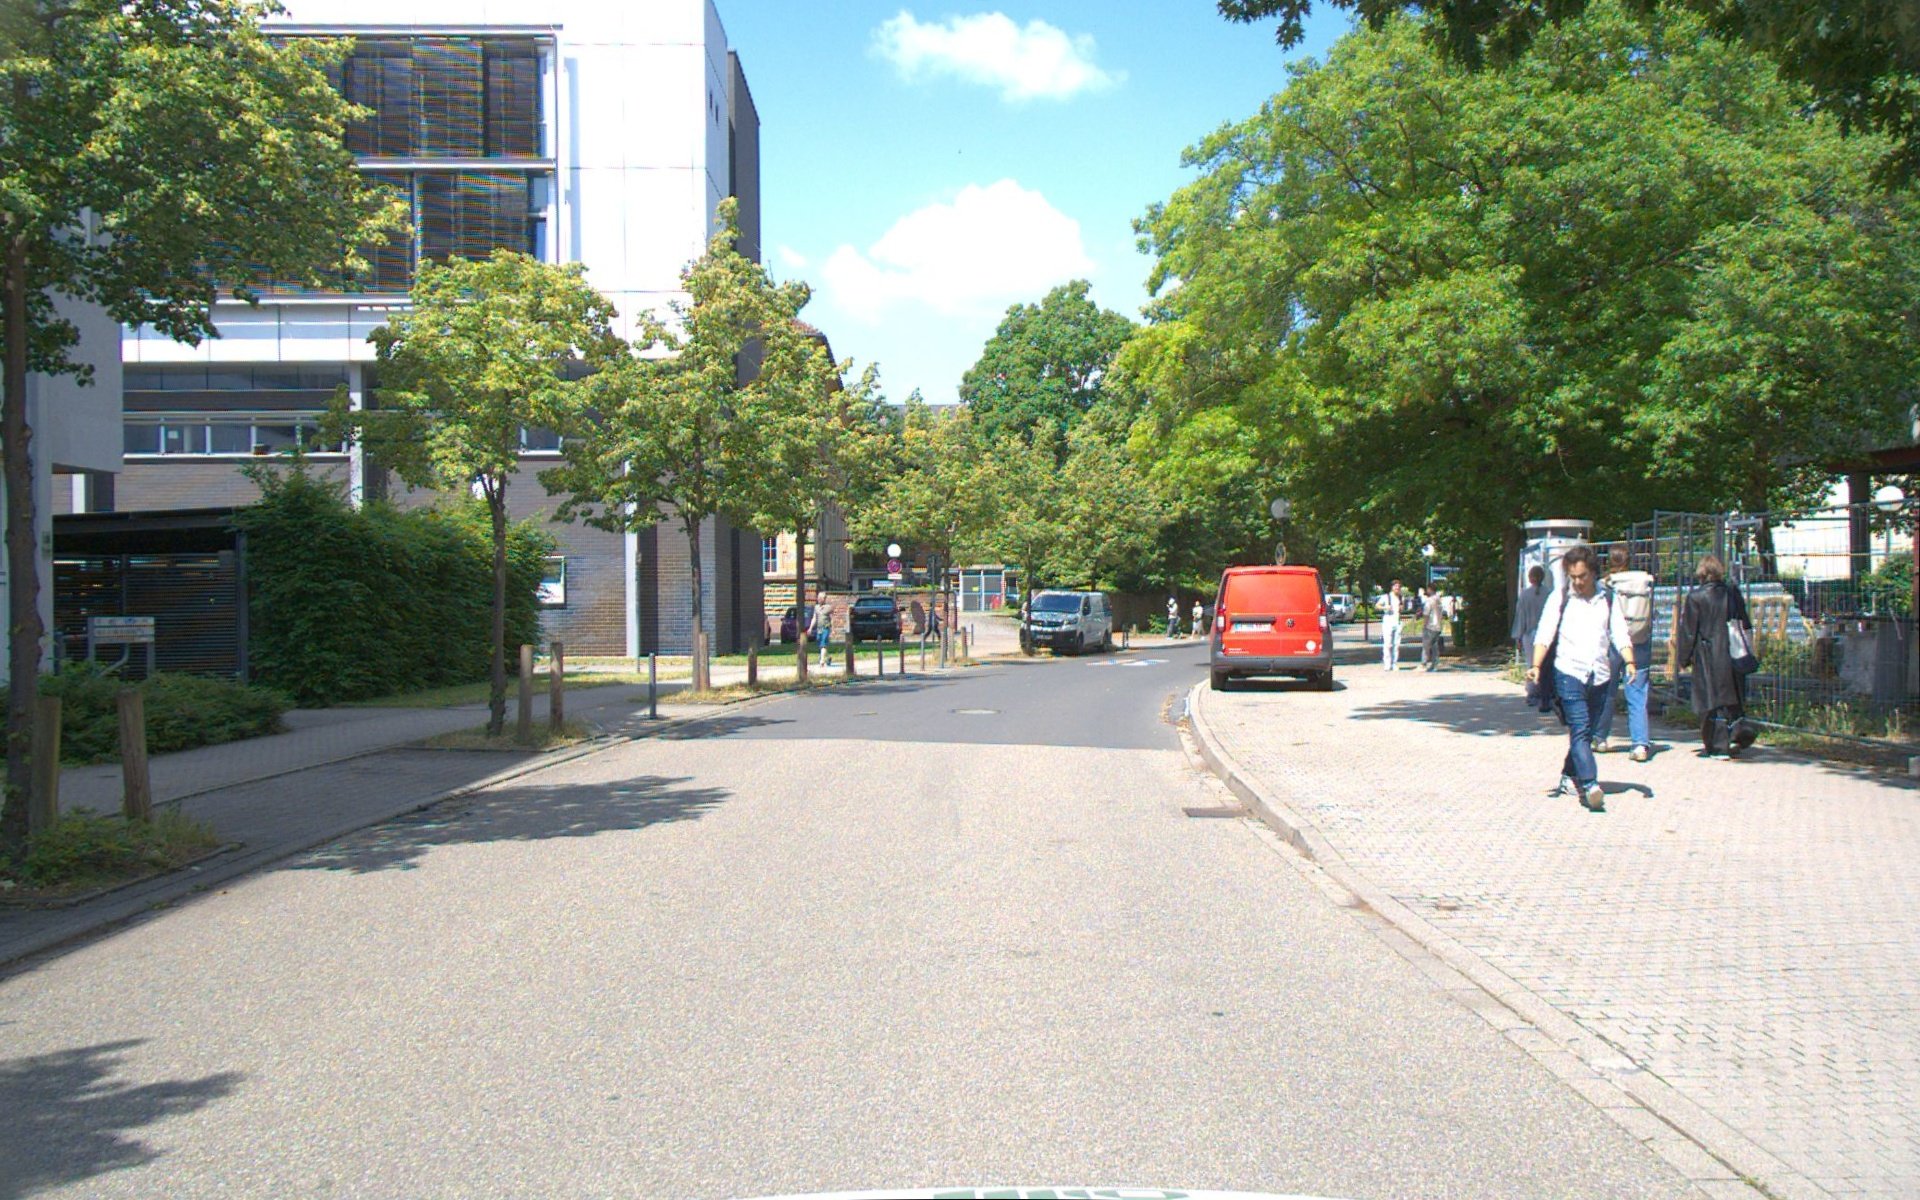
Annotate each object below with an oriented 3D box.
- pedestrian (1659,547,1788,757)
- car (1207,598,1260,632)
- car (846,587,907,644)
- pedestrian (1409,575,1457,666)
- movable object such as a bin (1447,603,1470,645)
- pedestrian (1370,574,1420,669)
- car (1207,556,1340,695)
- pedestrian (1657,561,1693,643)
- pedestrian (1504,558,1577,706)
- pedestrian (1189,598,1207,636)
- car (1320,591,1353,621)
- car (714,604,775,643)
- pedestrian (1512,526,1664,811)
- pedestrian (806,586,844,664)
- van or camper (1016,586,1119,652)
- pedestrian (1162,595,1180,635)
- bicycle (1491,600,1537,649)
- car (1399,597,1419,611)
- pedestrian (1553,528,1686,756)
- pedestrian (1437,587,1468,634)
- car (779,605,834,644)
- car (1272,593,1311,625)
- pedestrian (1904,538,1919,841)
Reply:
[{"bbox_3d":[6.161,0.406,13.393,0.654,1.628,0.986,-1,0,8],"label":"pedestrian"},{"bbox_3d":[12.833,0.676,77.432,1.723,1.548,4.112,-1,0,19],"label":"car"},{"bbox_3d":[-3.058,0.552,60.543,2.131,1.959,5.183,-1,0,-3],"label":"car"},{"bbox_3d":[9.183,0.391,32.117,0.737,1.740,0.556,0,-1,-37],"label":"pedestrian"},{"bbox_3d":[12.911,0.621,42.860,0.479,1.091,0.505,-1,0,6],"label":"movable object such as a bin"},{"bbox_3d":[8.674,0.425,32.984,0.716,1.853,0.622,0,-1,-37],"label":"pedestrian"},{"bbox_3d":[4.796,0.354,25.822,1.809,1.924,4.894,-1,0,9],"label":"car"},{"bbox_3d":[16.649,0.044,38.528,0.531,1.869,0.762,-1,-1,5],"label":"pedestrian"},{"bbox_3d":[6.651,0.368,18.978,0.697,1.660,0.712,-1,-1,15],"label":"pedestrian"},{"bbox_3d":[9.931,0.716,68.993,0.485,1.554,0.583,-1,-1,39],"label":"pedestrian"},{"bbox_3d":[24.339,0.392,106.914,1.582,1.847,4.001,-1,0,19],"label":"car"},{"bbox_3d":[-7.807,0.822,60.304,1.781,1.347,4.161,1,0,-2],"label":"car"},{"bbox_3d":[4.167,0.440,11.027,0.680,1.812,0.787,-1,0,0],"label":"pedestrian"},{"bbox_3d":[-3.157,0.584,38.684,0.571,1.795,0.912,-1,0,16],"label":"pedestrian"},{"bbox_3d":[3.473,0.560,52.433,1.913,1.957,5.422,0,0,19],"label":"van or camper"},{"bbox_3d":[8.884,0.628,69.515,0.614,1.692,0.602,-1,0,-5],"label":"pedestrian"},{"bbox_3d":[13.350,0.588,39.885,0.606,1.138,1.873,-1,0,4],"label":"bicycle"},{"bbox_3d":[43.917,0.365,161.807,1.582,1.388,4.564,-1,0,18],"label":"car"},{"bbox_3d":[5.369,0.334,13.504,0.832,1.795,0.716,-1,0,9],"label":"pedestrian"},{"bbox_3d":[20.389,0.435,68.477,0.806,1.781,0.841,-15,-5,20],"label":"pedestrian"},{"bbox_3d":[-5.582,0.875,60.449,1.781,1.347,3.766,-1,0,-2],"label":"car"},{"bbox_3d":[18.579,0.495,92.716,1.582,1.708,4.001,-1,0,19],"label":"car"},{"bbox_3d":[5.707,0.495,8.915,0.636,1.695,0.903,-1,0,-5],"label":"pedestrian"}]
